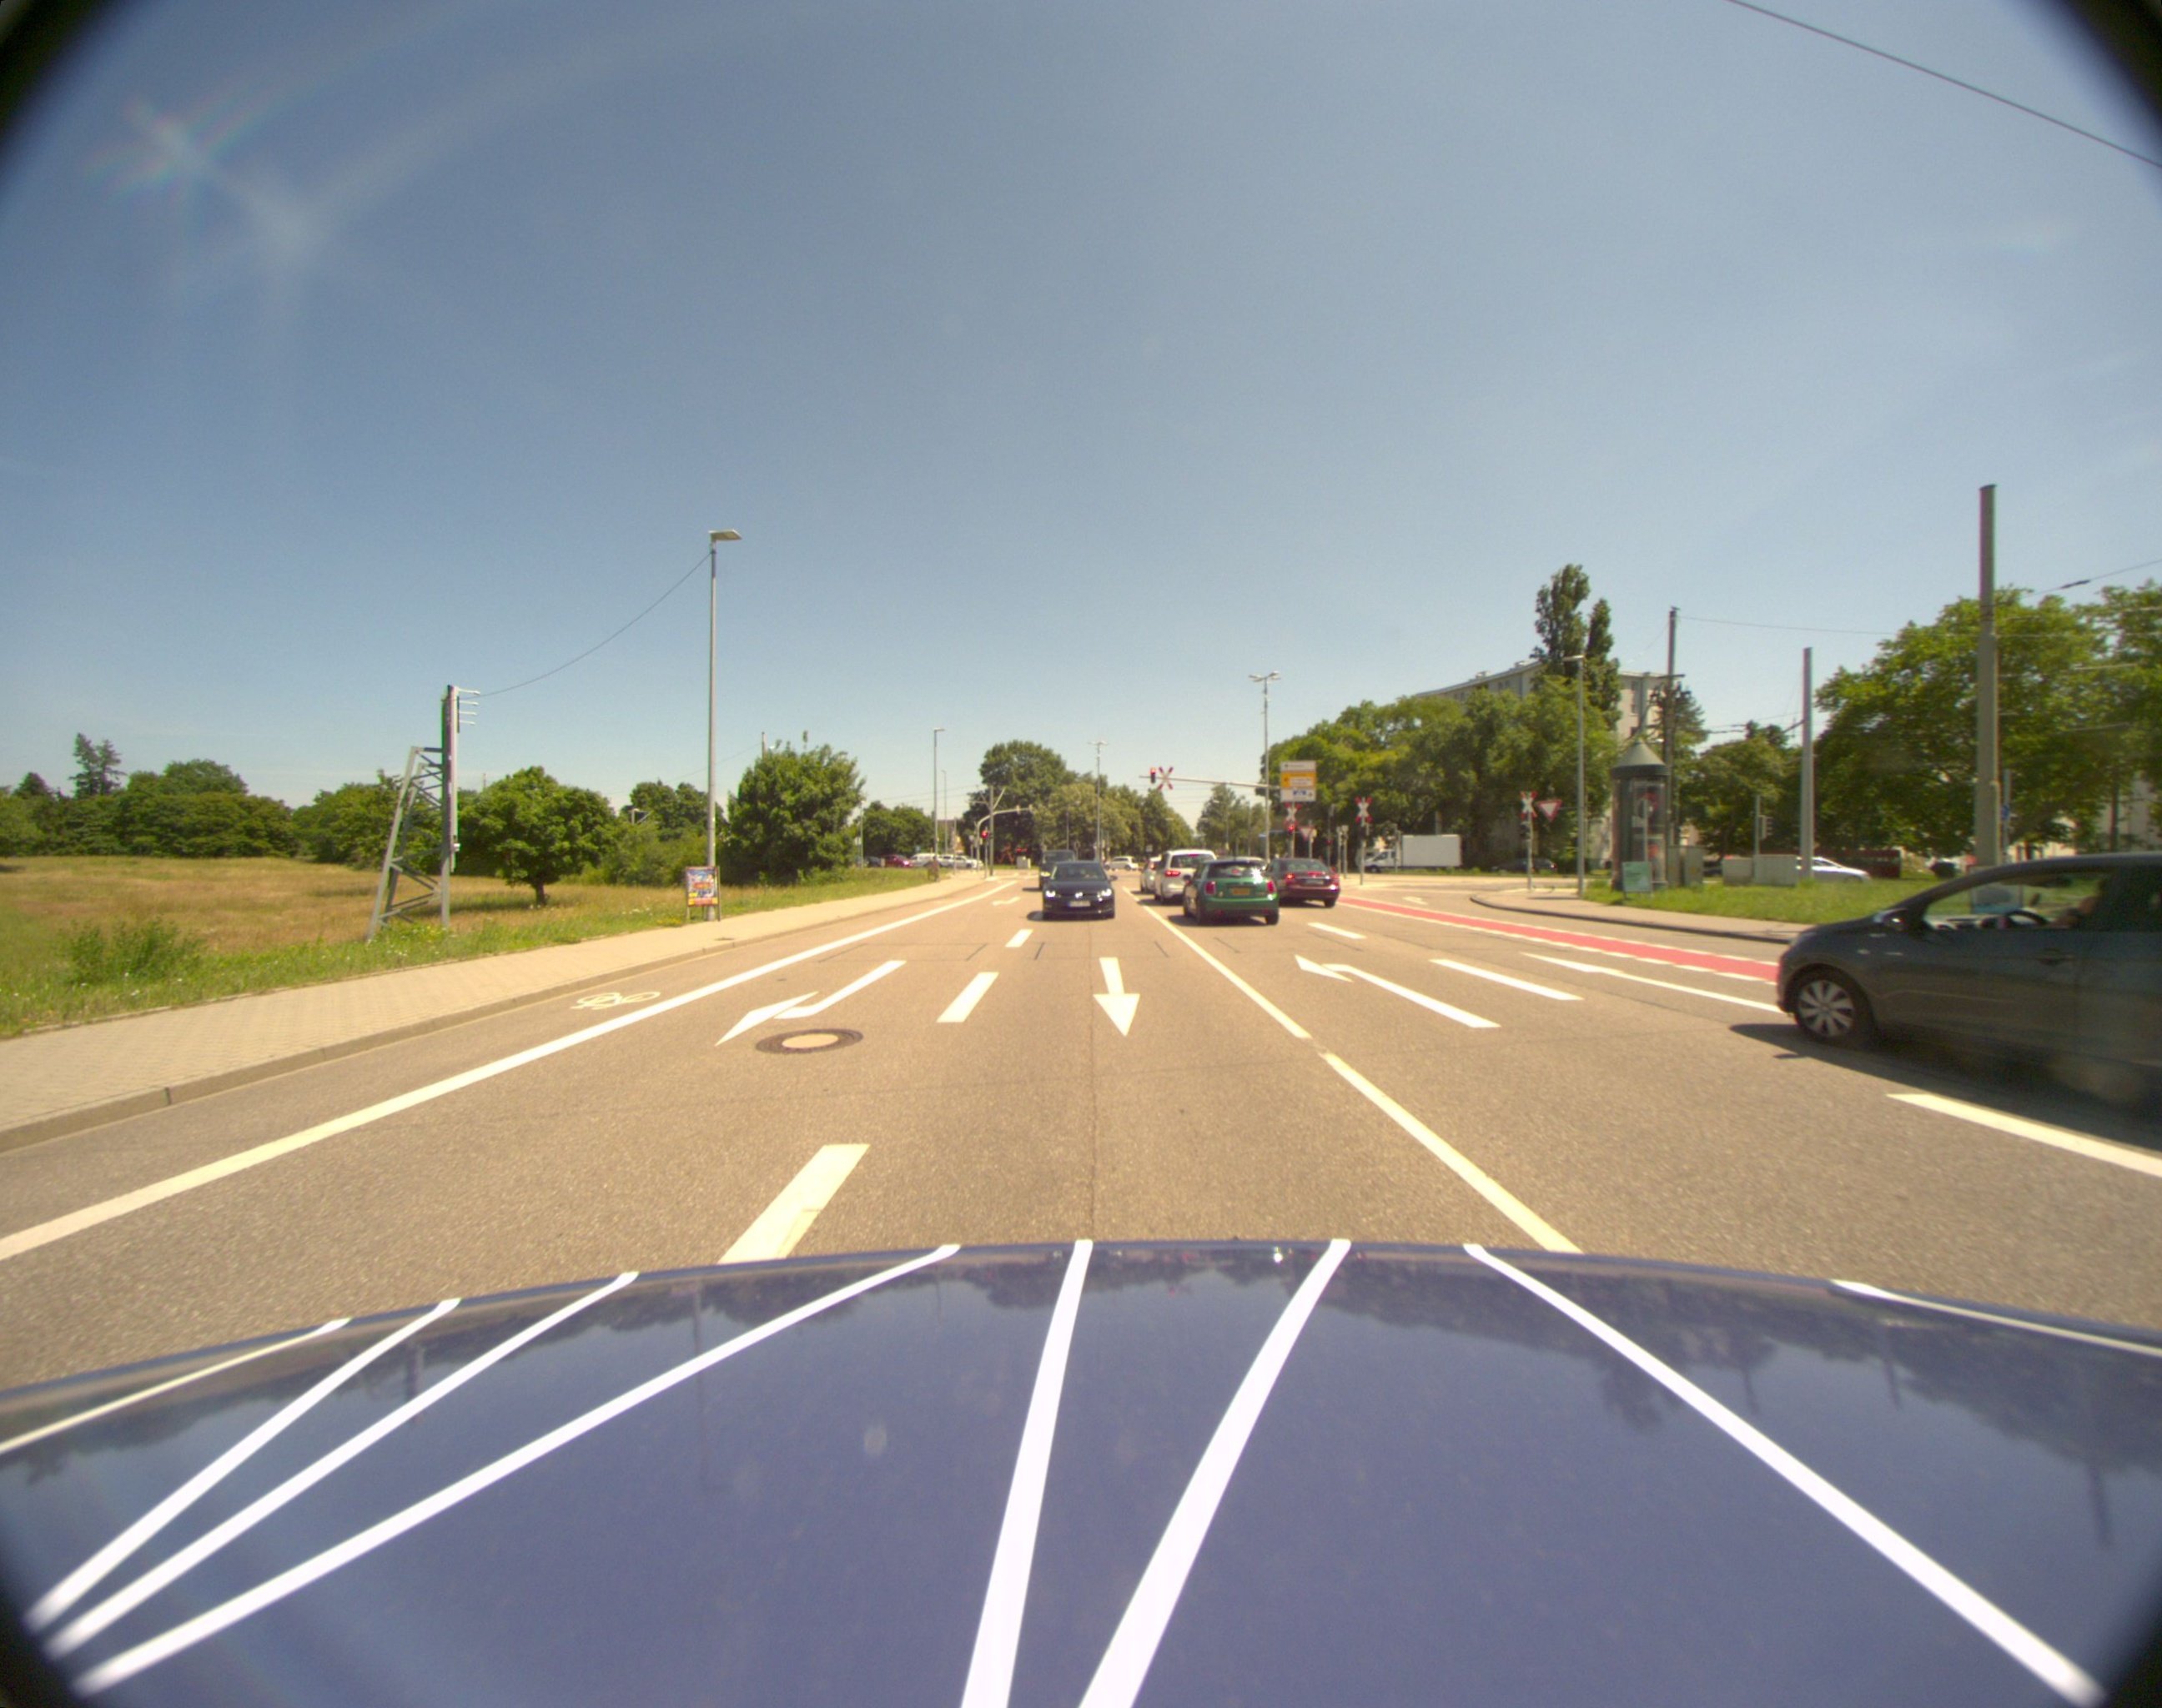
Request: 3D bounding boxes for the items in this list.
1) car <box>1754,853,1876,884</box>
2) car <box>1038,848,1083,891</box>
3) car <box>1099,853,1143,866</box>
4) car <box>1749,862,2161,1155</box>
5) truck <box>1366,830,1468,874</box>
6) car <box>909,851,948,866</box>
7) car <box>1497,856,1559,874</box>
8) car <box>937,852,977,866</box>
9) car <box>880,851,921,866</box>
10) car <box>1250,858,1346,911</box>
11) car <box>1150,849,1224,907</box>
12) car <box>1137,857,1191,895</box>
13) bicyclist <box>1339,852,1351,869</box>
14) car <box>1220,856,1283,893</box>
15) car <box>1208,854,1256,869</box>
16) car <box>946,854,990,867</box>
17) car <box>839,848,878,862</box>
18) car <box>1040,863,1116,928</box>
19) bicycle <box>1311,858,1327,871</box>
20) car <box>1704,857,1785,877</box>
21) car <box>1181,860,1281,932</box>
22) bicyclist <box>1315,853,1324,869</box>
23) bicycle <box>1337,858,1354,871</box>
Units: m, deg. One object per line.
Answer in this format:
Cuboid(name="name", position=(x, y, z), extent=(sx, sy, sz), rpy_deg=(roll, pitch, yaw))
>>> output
Cuboid(name="car", position=(38.377, 0.750, 39.848), extent=(4.248, 1.536, 1.750), rpy_deg=(0, -2, 18))
Cuboid(name="car", position=(-0.935, 0.693, 36.768), extent=(1.941, 1.920, 4.846), rpy_deg=(-2, 0, 1))
Cuboid(name="car", position=(4.176, 0.572, 79.570), extent=(4.203, 1.416, 1.853), rpy_deg=(0, -1, 31))
Cuboid(name="car", position=(6.297, 0.810, 4.477), extent=(1.626, 1.447, 3.501), rpy_deg=(1, 0, 1))
Cuboid(name="truck", position=(28.800, -0.116, 65.321), extent=(7.690, 3.511, 2.594), rpy_deg=(0, -2, 32))
Cuboid(name="car", position=(-18.524, 0.554, 92.390), extent=(4.380, 1.782, 1.901), rpy_deg=(0, -2, 30))
Cuboid(name="car", position=(33.410, 0.799, 56.873), extent=(3.989, 1.279, 1.751), rpy_deg=(0, -2, 29))
Cuboid(name="car", position=(-14.056, 0.598, 86.052), extent=(4.399, 1.566, 1.879), rpy_deg=(0, -1, 32))
Cuboid(name="car", position=(-20.371, 0.503, 85.713), extent=(4.399, 1.566, 1.879), rpy_deg=(0, -1, 32))
Cuboid(name="car", position=(6.591, 0.876, 23.574), extent=(1.764, 1.448, 4.285), rpy_deg=(0, 0, 0))
Cuboid(name="car", position=(3.392, 0.737, 25.125), extent=(1.816, 1.713, 4.831), rpy_deg=(-1, 0, 1))
Cuboid(name="car", position=(3.417, 0.863, 31.903), extent=(1.772, 1.429, 3.960), rpy_deg=(-1, 0, 0))
Cuboid(name="bicyclist", position=(24.799, 0.624, 71.315), extent=(0.648, 1.536, 0.908), rpy_deg=(-1, 3, -14))
Cuboid(name="car", position=(7.231, 0.833, 32.644), extent=(1.795, 1.447, 4.413), rpy_deg=(0, 0, 1))
Cuboid(name="car", position=(14.571, 0.736, 73.310), extent=(4.203, 1.416, 1.853), rpy_deg=(0, -1, 32))
Cuboid(name="car", position=(-12.040, 0.663, 81.012), extent=(4.399, 1.380, 1.879), rpy_deg=(0, -1, 32))
Cuboid(name="car", position=(-26.235, 0.086, 89.499), extent=(4.399, 1.566, 1.879), rpy_deg=(0, -1, 32))
Cuboid(name="car", position=(-0.043, 0.980, 19.518), extent=(1.708, 1.396, 4.054), rpy_deg=(-1, 0, 1))
Cuboid(name="bicycle", position=(22.608, 0.988, 72.090), extent=(0.616, 1.057, 1.803), rpy_deg=(-1, 3, -14))
Cuboid(name="car", position=(46.710, 0.918, 53.618), extent=(3.989, 1.279, 1.891), rpy_deg=(0, -2, 29))
Cuboid(name="car", position=(3.364, 0.882, 17.686), extent=(1.727, 1.454, 3.991), rpy_deg=(-1, 0, 3))
Cuboid(name="bicyclist", position=(22.611, 0.686, 72.042), extent=(0.616, 1.460, 0.628), rpy_deg=(-1, 3, -14))
Cuboid(name="bicycle", position=(24.804, 0.965, 71.403), extent=(0.616, 1.057, 1.803), rpy_deg=(-1, 3, -14))
